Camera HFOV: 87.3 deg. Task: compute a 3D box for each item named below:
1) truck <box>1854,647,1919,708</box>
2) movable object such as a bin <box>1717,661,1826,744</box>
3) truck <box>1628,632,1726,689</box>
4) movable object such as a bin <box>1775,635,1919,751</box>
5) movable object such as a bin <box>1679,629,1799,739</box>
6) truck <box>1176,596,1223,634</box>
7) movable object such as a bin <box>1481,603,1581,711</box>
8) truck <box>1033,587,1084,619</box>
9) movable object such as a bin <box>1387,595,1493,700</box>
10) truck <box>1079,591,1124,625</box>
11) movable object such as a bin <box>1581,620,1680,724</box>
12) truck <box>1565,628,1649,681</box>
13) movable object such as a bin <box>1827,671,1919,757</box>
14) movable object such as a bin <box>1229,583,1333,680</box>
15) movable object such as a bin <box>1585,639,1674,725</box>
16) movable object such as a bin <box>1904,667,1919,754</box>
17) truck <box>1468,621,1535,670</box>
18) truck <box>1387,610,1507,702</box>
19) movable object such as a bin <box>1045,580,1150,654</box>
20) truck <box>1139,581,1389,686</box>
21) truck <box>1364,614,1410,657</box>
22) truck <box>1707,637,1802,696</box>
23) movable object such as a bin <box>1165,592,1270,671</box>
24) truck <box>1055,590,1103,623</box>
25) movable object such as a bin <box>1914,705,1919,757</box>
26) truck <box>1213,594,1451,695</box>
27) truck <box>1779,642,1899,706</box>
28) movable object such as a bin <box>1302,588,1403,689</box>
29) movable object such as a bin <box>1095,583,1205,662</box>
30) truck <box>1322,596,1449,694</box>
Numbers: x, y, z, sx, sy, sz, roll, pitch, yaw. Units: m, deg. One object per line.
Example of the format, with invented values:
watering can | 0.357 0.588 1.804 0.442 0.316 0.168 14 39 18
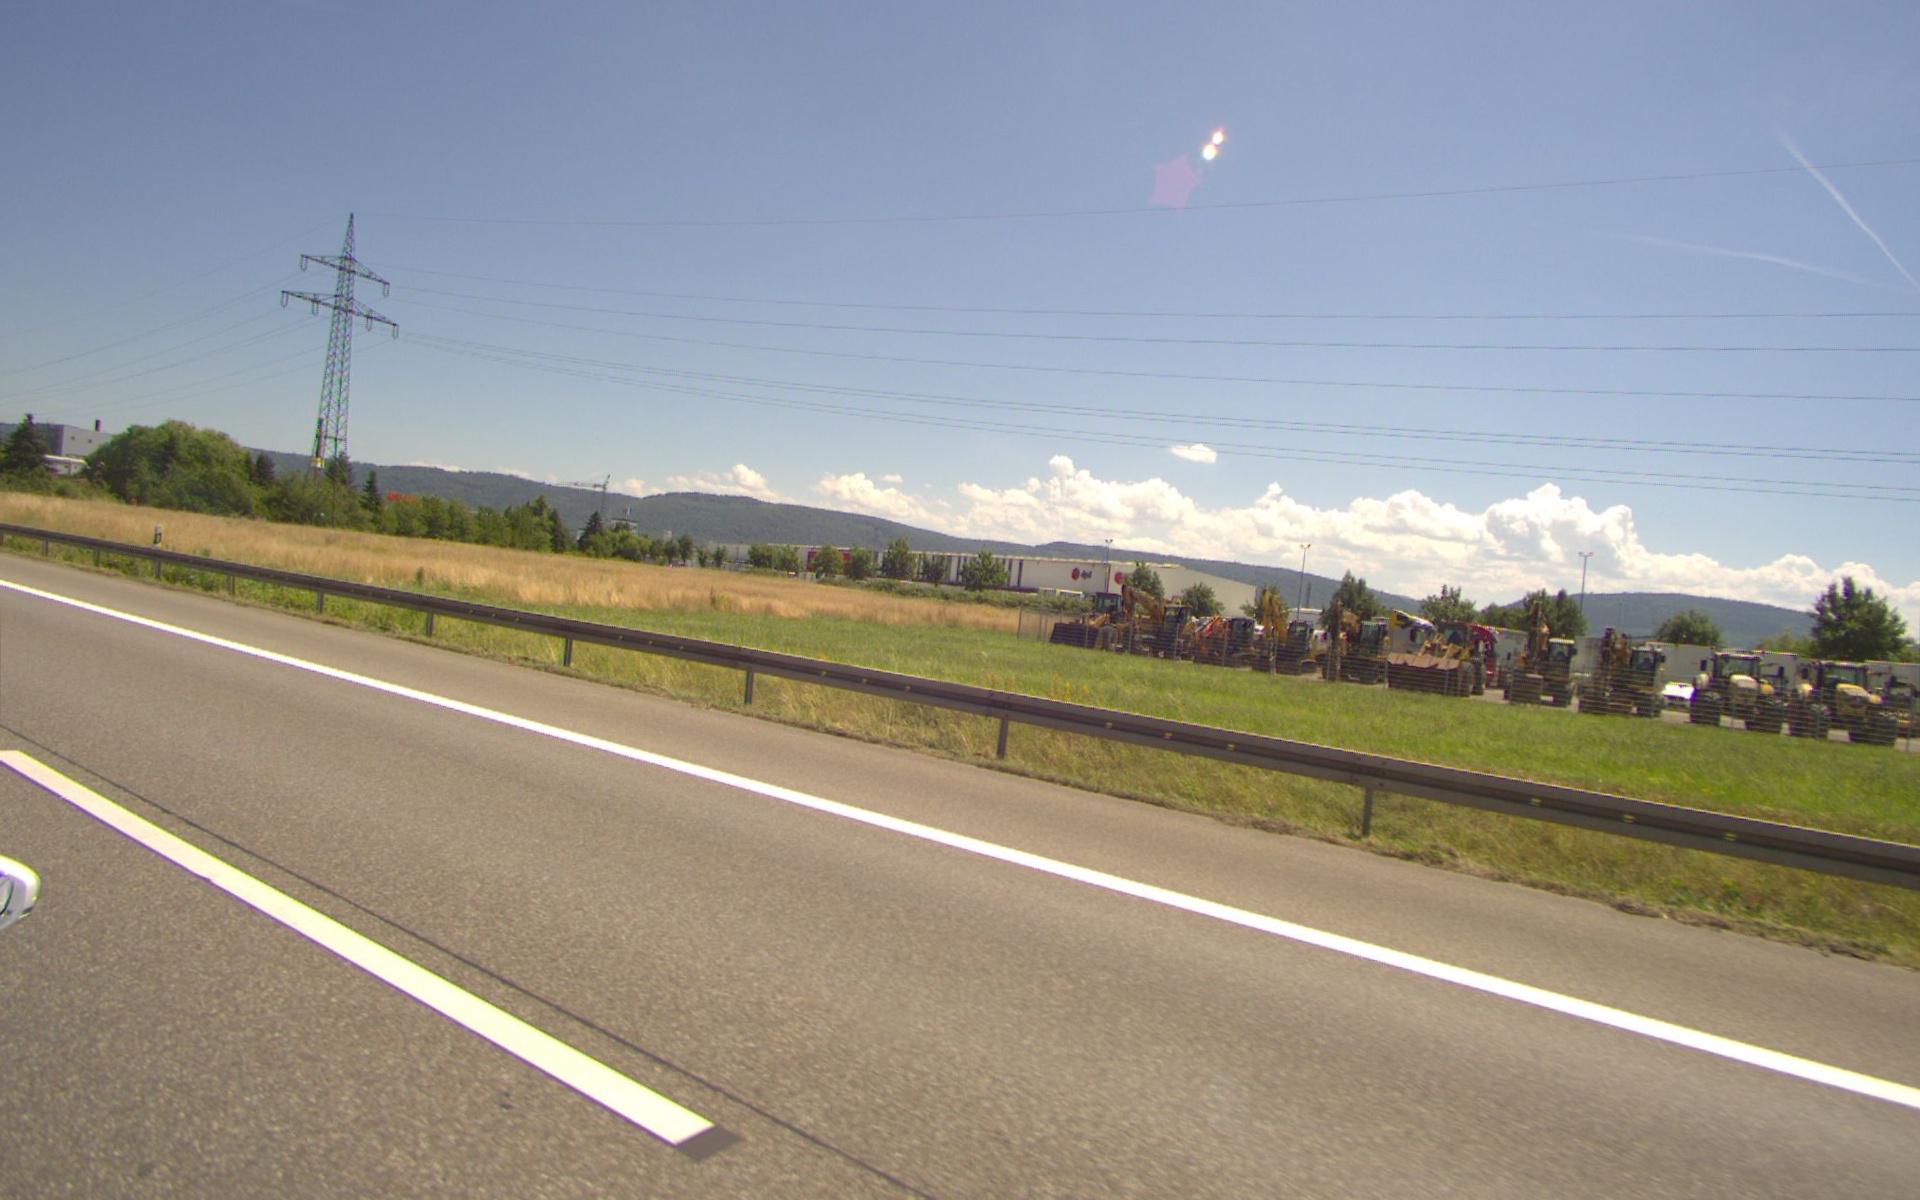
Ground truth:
truck | 58.480 4.799 61.312 2.784 3.456 8.169 6 1 19
movable object such as a bin | 47.762 6.081 59.087 8.781 4.009 3.256 9 -2 -41
truck | 50.863 4.168 71.636 2.783 3.456 8.171 6 1 16
movable object such as a bin | 36.561 3.903 41.730 3.087 3.997 8.105 6 -2 33
movable object such as a bin | 33.506 3.723 43.609 3.087 3.997 8.105 6 -2 33
truck | 25.139 1.620 105.130 2.708 3.456 8.161 7 1 26
movable object such as a bin | 27.157 2.838 47.631 3.246 4.347 8.105 6 -2 33
truck | 12.389 0.408 125.760 2.783 3.456 8.150 7 1 32
movable object such as a bin | 23.843 2.477 49.710 3.297 4.347 8.105 6 -2 33
truck | 16.843 1.023 118.893 2.779 3.456 8.163 6 1 24
movable object such as a bin | 30.306 3.375 45.643 3.087 3.997 8.105 6 -2 33
truck | 48.401 3.972 75.527 2.783 3.456 8.171 6 1 16
movable object such as a bin | 51.015 6.395 55.908 8.444 4.009 3.252 9 -2 -44
movable object such as a bin | 17.387 1.808 54.092 2.835 4.347 8.105 6 -2 33
movable object such as a bin | 43.520 5.392 65.212 3.248 4.704 8.802 6 -2 42
movable object such as a bin | 44.248 4.962 43.656 3.087 3.997 8.105 6 -2 33
truck | 43.769 3.580 81.587 2.783 3.456 8.171 6 1 16
truck | 30.021 3.430 62.009 5.886 4.828 3.048 6 -1 33
movable object such as a bin | 8.255 1.082 59.575 2.835 3.503 7.576 6 -2 33
truck | 18.509 1.923 62.243 14.092 4.828 3.048 6 -1 33
truck | 37.979 3.107 89.693 2.480 3.456 8.171 6 1 16
truck | 53.505 4.386 68.025 2.786 3.456 8.163 6 1 24
movable object such as a bin | 14.437 1.824 55.898 2.835 3.503 8.105 6 -2 33
truck | 14.509 0.828 122.016 2.780 3.456 8.159 7 1 27
movable object such as a bin | 53.298 6.575 53.360 8.444 4.066 3.252 9 -2 -44
truck | 24.108 2.793 65.942 13.905 4.828 3.048 6 -1 33
truck | 56.146 4.608 64.543 2.784 3.456 8.167 6 1 21
movable object such as a bin | 20.390 2.100 51.874 2.835 4.347 8.105 6 -2 33
movable object such as a bin | 10.744 1.352 56.266 2.835 3.503 8.105 6 -2 33
truck | 24.583 2.578 58.228 5.886 4.828 3.048 6 -1 33
